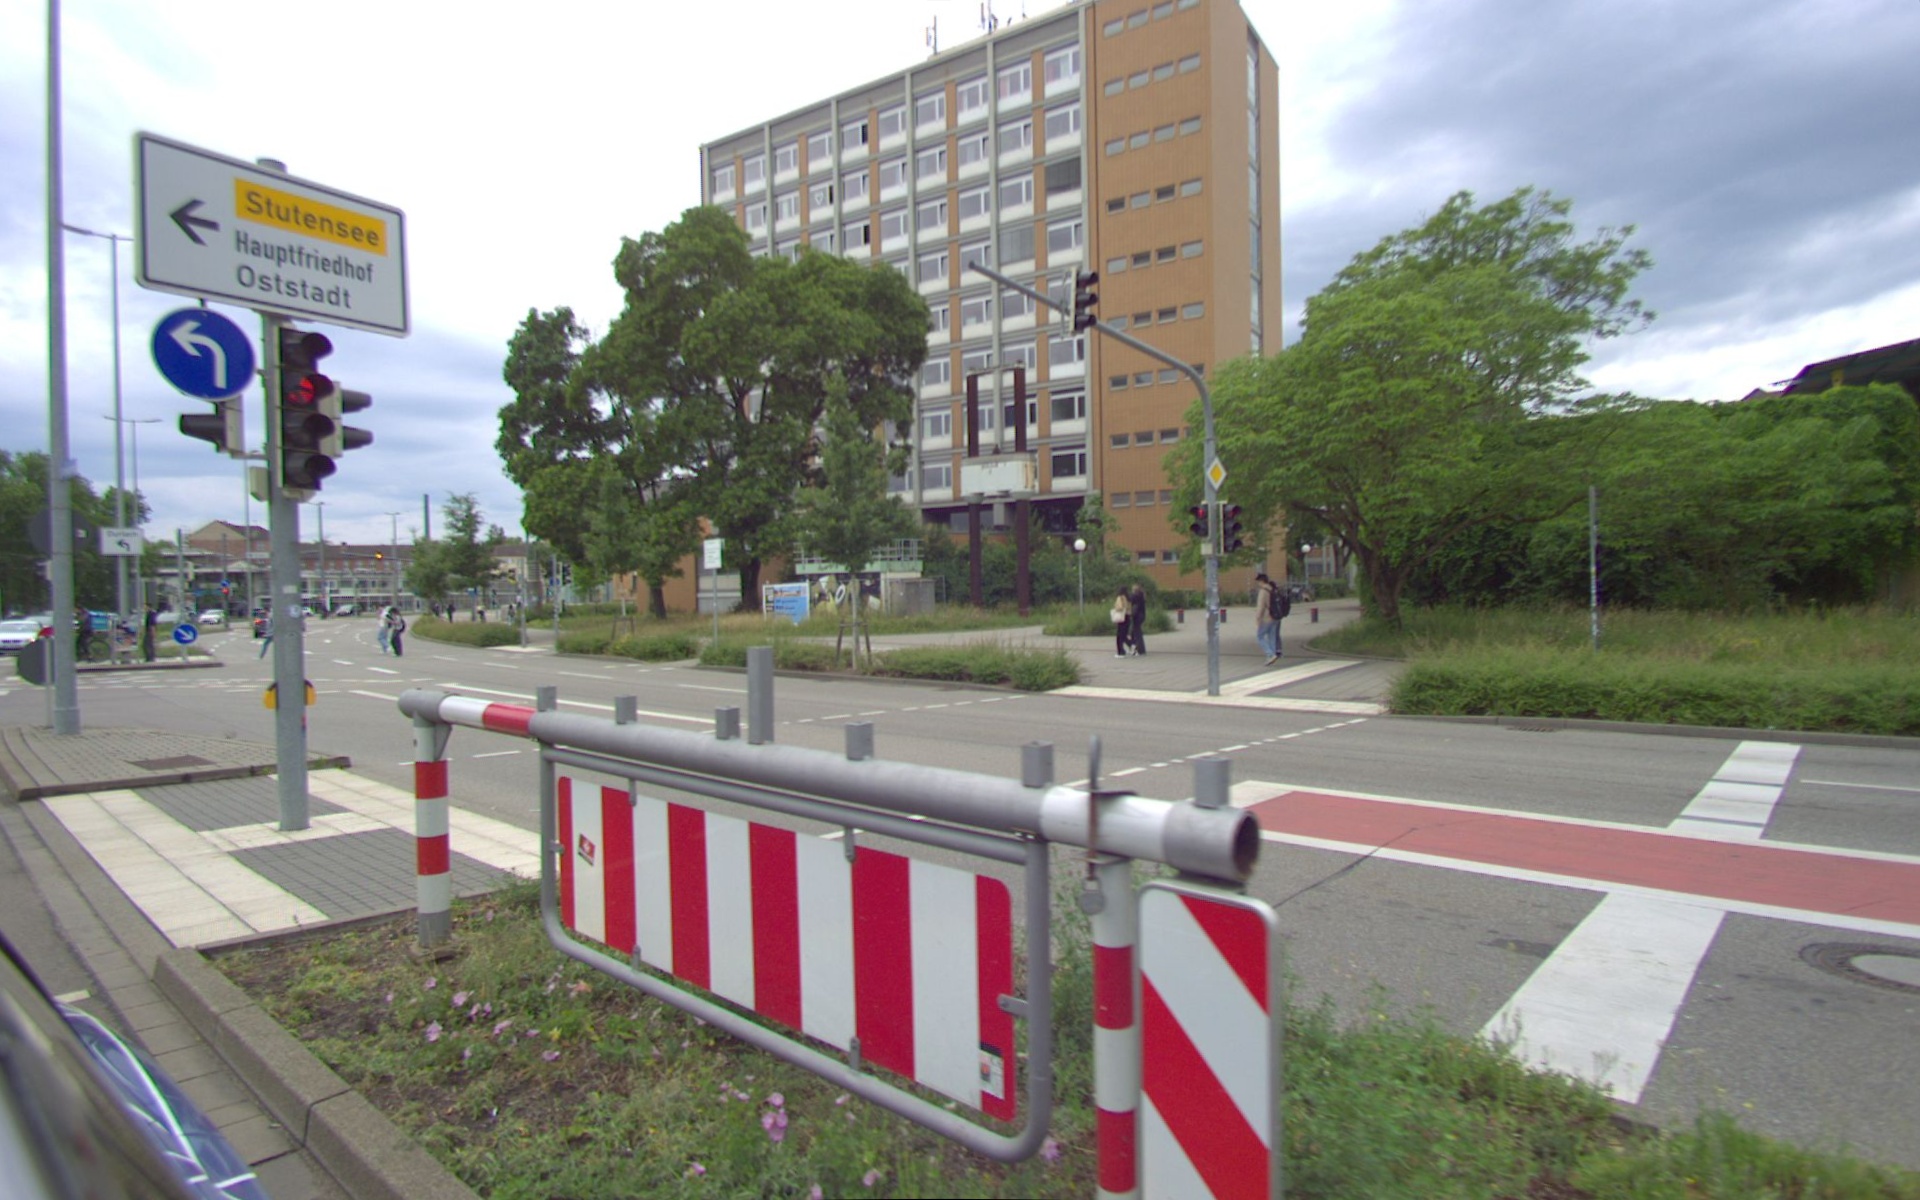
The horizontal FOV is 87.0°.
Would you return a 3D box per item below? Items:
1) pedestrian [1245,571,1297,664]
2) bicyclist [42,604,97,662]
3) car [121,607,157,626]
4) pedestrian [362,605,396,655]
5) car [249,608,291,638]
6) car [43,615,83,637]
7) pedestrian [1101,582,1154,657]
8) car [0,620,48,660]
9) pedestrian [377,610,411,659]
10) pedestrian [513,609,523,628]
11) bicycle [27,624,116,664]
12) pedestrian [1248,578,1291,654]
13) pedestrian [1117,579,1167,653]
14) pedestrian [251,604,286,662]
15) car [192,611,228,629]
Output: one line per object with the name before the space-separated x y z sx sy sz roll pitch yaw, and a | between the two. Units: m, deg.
pedestrian | 6.241 0.350 20.289 0.761 1.814 0.630 -1 0 41
bicyclist | -27.667 1.009 31.459 0.806 1.749 1.177 -1 -1 39
car | -71.251 1.401 87.881 1.775 1.608 3.771 0 -1 -28
pedestrian | -21.245 1.102 37.015 0.734 1.818 0.764 -1 -1 15
car | -40.782 1.327 59.841 1.786 1.679 3.961 0 0 -30
car | -63.635 1.848 71.814 1.791 1.486 4.041 0 -1 -37
pedestrian | 3.865 0.453 23.414 0.943 1.683 0.699 -1 1 41
car | -39.216 1.630 41.945 1.758 1.474 3.879 -3 2 -37
pedestrian | -19.669 1.180 35.161 0.704 1.680 0.770 -1 -1 29
pedestrian | -38.032 1.570 87.022 0.644 1.633 0.471 0 -1 -45
bicycle | -27.627 1.347 31.497 0.806 1.151 1.980 -1 -1 39
pedestrian | 6.808 0.349 22.306 0.822 1.625 0.632 -2 1 16
pedestrian | 4.324 0.377 24.036 0.889 1.683 0.699 -1 2 41
pedestrian | -22.035 1.035 32.241 0.904 1.818 0.541 0 -1 -37
car | -77.877 2.076 105.201 1.965 1.829 4.013 0 -1 -20
